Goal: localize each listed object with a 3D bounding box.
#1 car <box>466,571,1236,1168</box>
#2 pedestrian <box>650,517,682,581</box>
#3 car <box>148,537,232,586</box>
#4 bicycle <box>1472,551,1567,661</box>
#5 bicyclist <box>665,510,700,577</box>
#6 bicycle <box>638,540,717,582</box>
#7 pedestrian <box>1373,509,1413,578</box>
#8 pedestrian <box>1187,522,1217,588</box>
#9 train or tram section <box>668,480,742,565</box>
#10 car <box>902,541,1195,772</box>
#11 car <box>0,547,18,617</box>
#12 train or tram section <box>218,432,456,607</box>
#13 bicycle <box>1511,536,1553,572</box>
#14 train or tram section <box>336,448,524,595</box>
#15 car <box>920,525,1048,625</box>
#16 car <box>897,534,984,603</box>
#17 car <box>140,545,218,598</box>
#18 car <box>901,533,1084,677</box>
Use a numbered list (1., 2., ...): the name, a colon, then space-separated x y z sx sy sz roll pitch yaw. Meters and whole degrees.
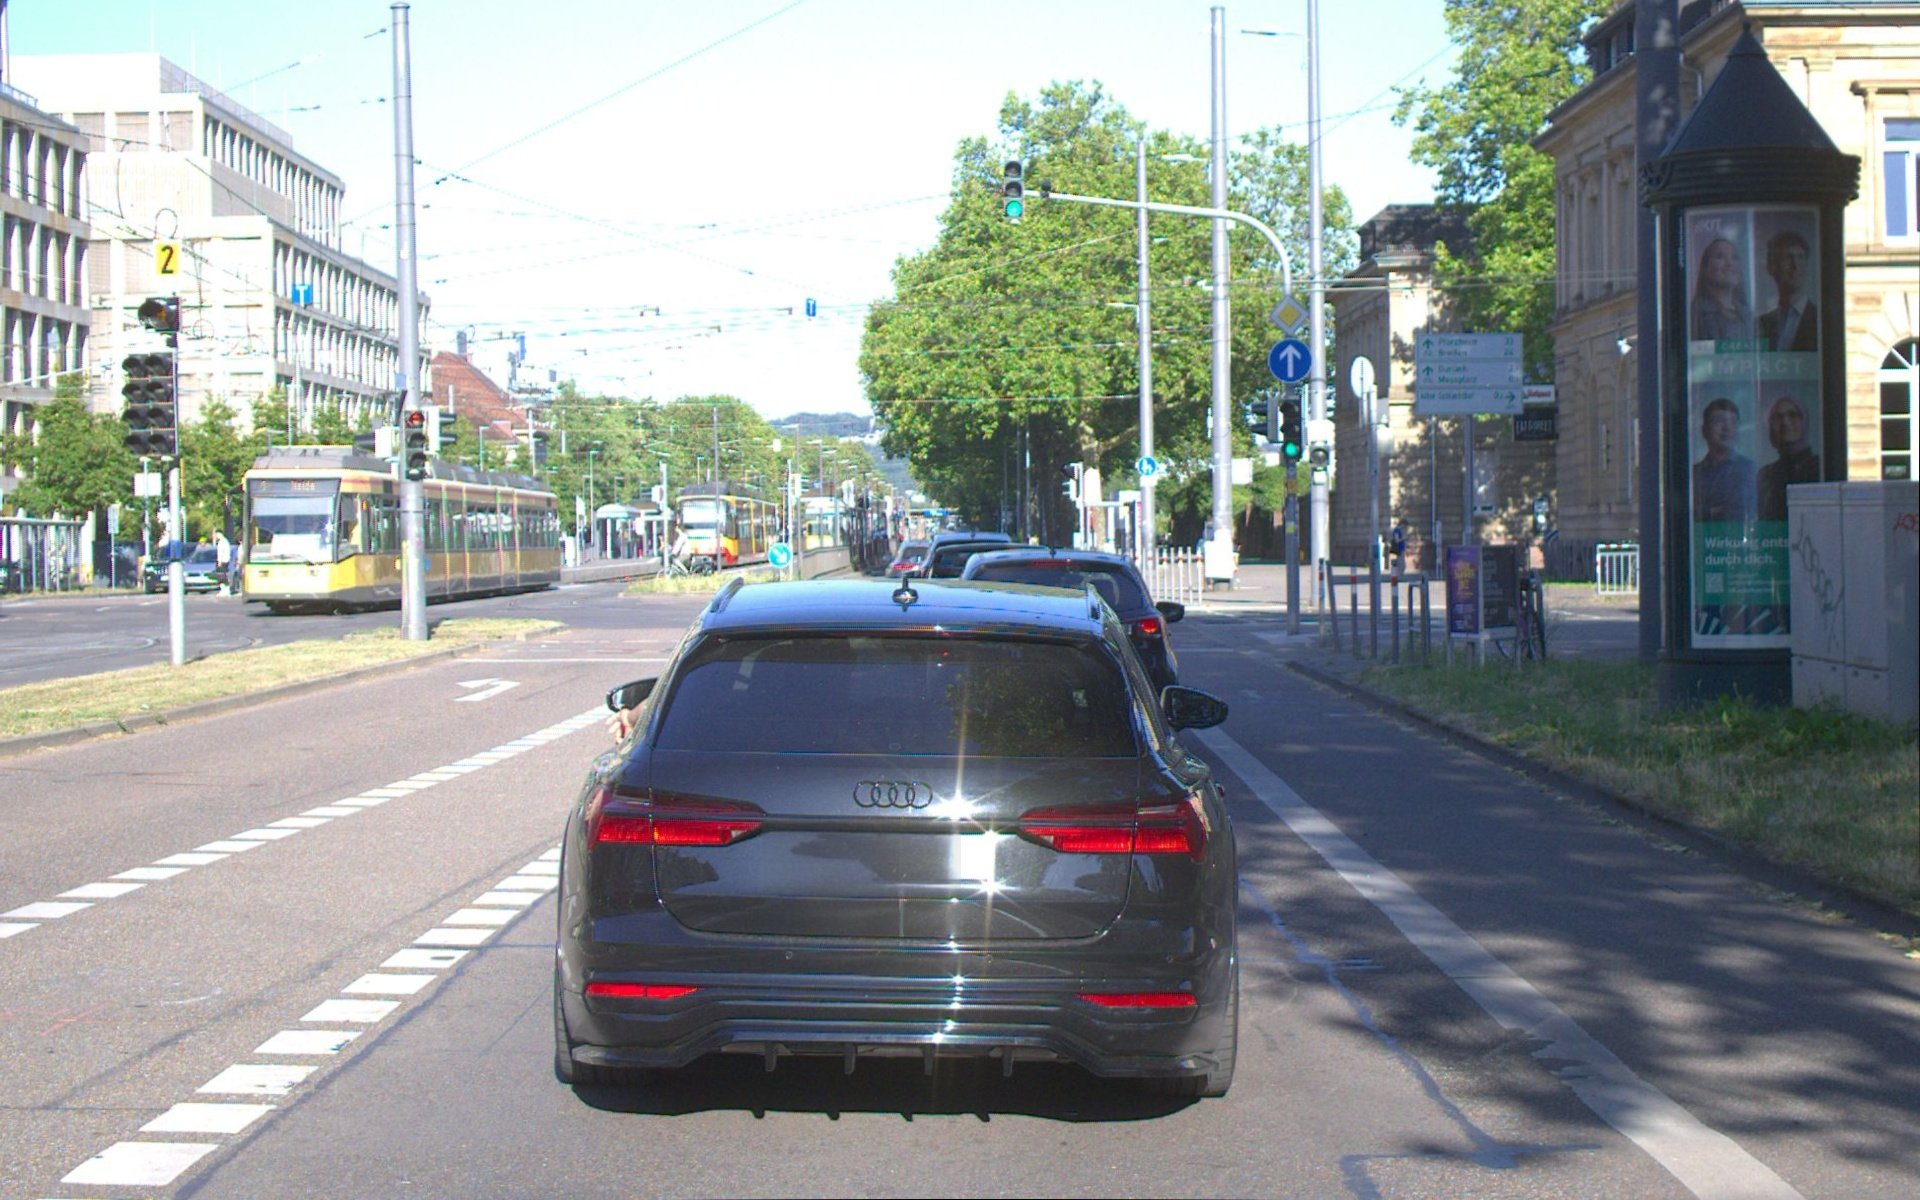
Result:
1. car: -0.261 0.651 10.583 1.902 1.417 4.145 0 1 0
2. pedestrian: -8.132 -1.415 95.116 0.739 1.735 0.664 -1 1 -19
3. car: -23.795 -1.204 106.398 1.820 1.452 4.157 -1 1 -3
4. bicycle: 5.588 0.048 34.395 0.540 1.058 1.772 -1 1 -4
5. bicyclist: -7.565 -1.541 93.630 0.756 1.812 0.765 -1 1 -19
6. bicycle: -7.693 -1.077 93.582 2.005 1.104 0.765 -1 1 -19
7. pedestrian: 11.779 -1.544 93.487 0.979 1.859 0.827 -1 1 2
8. pedestrian: 6.161 -1.152 87.632 0.682 1.655 0.758 -1 1 -2
9. train or tram section: -10.781 -3.307 146.219 2.608 3.439 11.133 -1 1 -2
10. car: 0.584 0.332 24.462 1.902 1.481 4.145 0 1 0
11. car: -20.952 -0.341 71.316 1.820 1.452 4.157 -1 1 -3
12. train or tram section: -13.494 -1.743 75.719 2.813 3.477 13.204 -1 1 0
13. bicycle: 16.957 -1.377 102.034 0.526 1.043 2.360 -1 1 -8
14. train or tram section: -13.529 -2.006 88.918 2.813 3.477 13.204 -1 1 0
15. car: 0.369 -0.423 53.250 1.902 1.481 4.145 0 1 0
16. car: -0.421 -0.734 77.291 1.902 1.481 4.145 0 1 0
17. car: -27.311 -1.013 120.328 1.842 1.806 4.113 -1 1 -1
18. car: 0.349 0.008 37.865 1.902 1.481 4.145 0 1 0
